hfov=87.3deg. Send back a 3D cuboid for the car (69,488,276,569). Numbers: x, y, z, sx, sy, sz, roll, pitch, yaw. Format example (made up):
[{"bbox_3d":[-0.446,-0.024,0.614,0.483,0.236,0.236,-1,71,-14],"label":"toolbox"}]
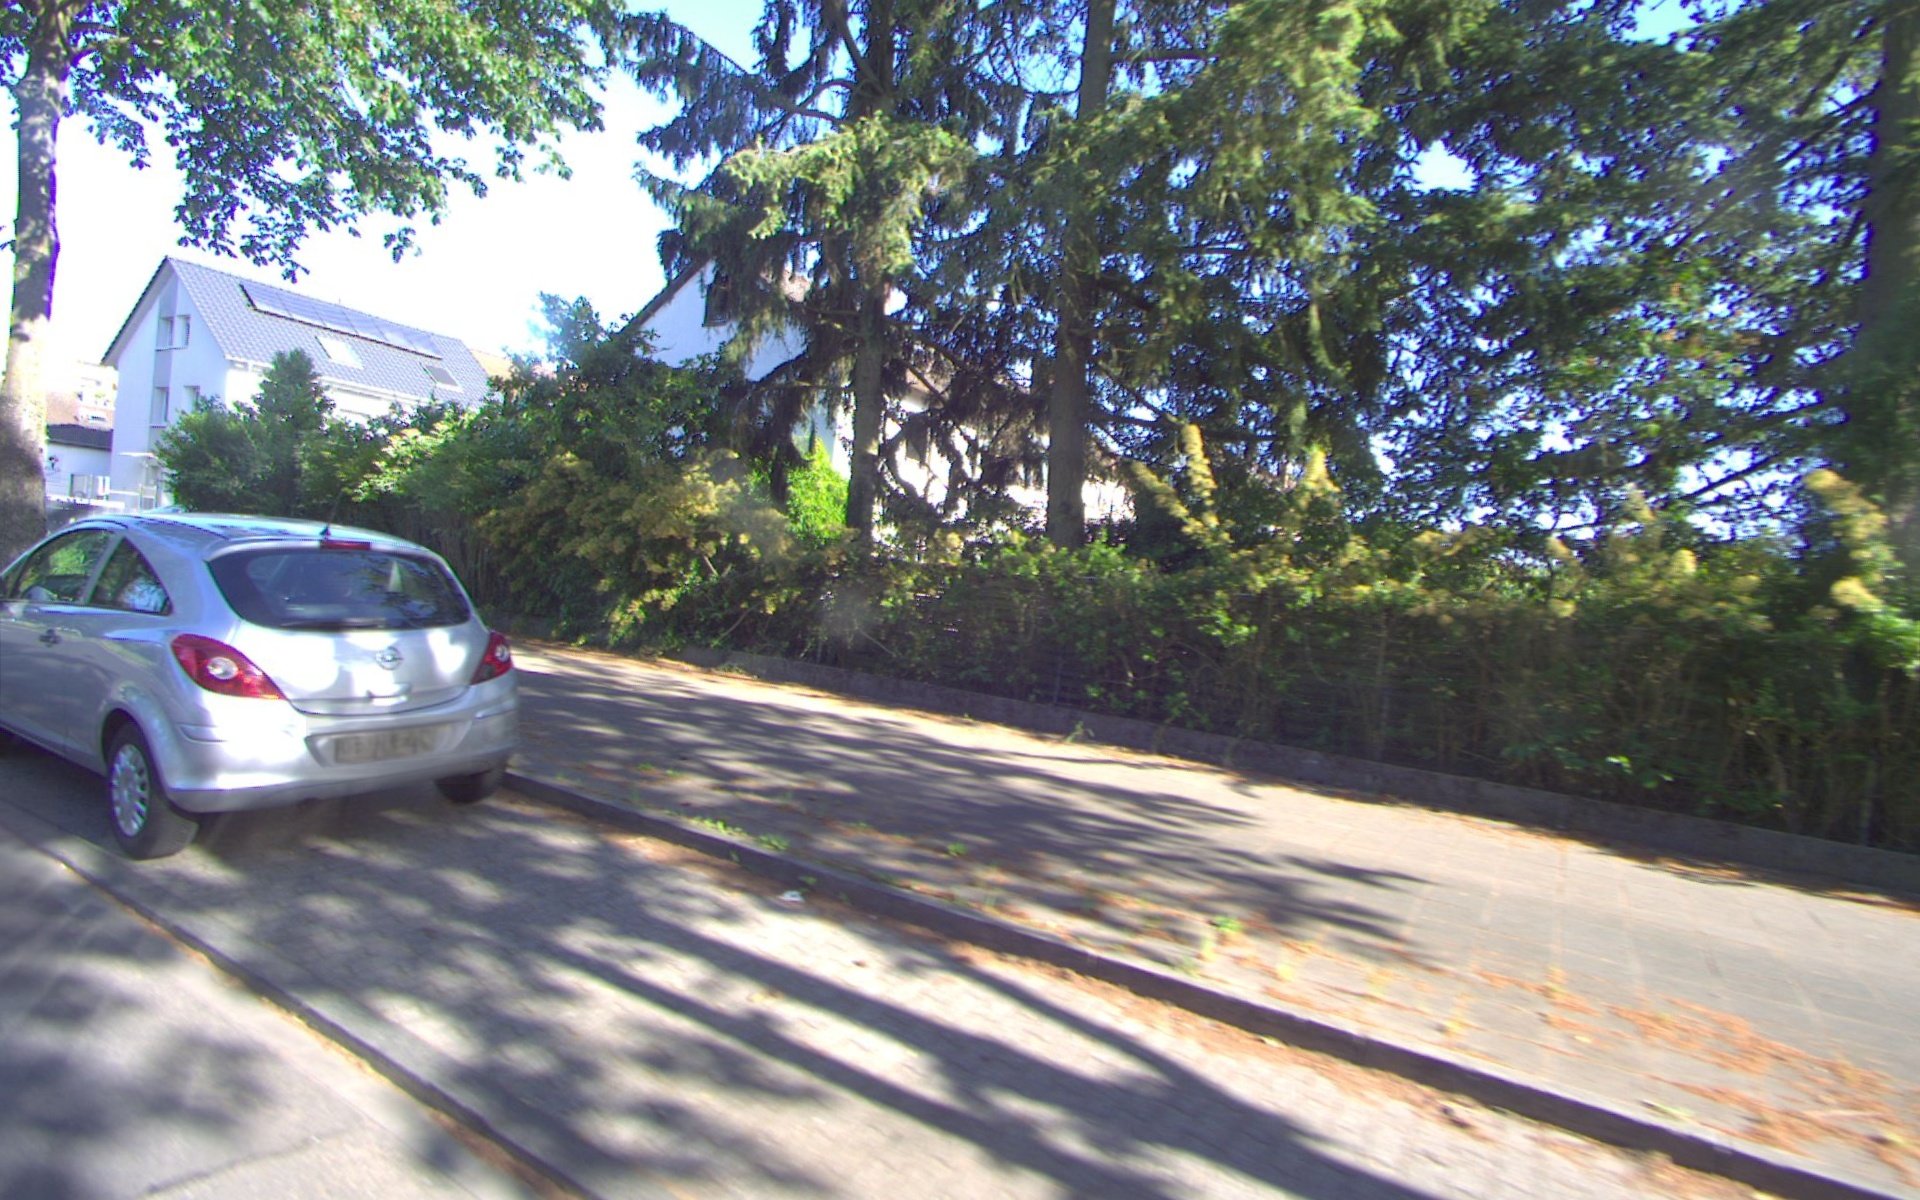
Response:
[{"bbox_3d":[-21.238,-1.887,27.306,1.745,1.661,3.994,6,1,26],"label":"car"}]

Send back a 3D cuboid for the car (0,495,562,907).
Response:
[{"bbox_3d":[-4.278,0.291,5.745,3.942,1.530,1.990,5,1,39],"label":"car"}]
